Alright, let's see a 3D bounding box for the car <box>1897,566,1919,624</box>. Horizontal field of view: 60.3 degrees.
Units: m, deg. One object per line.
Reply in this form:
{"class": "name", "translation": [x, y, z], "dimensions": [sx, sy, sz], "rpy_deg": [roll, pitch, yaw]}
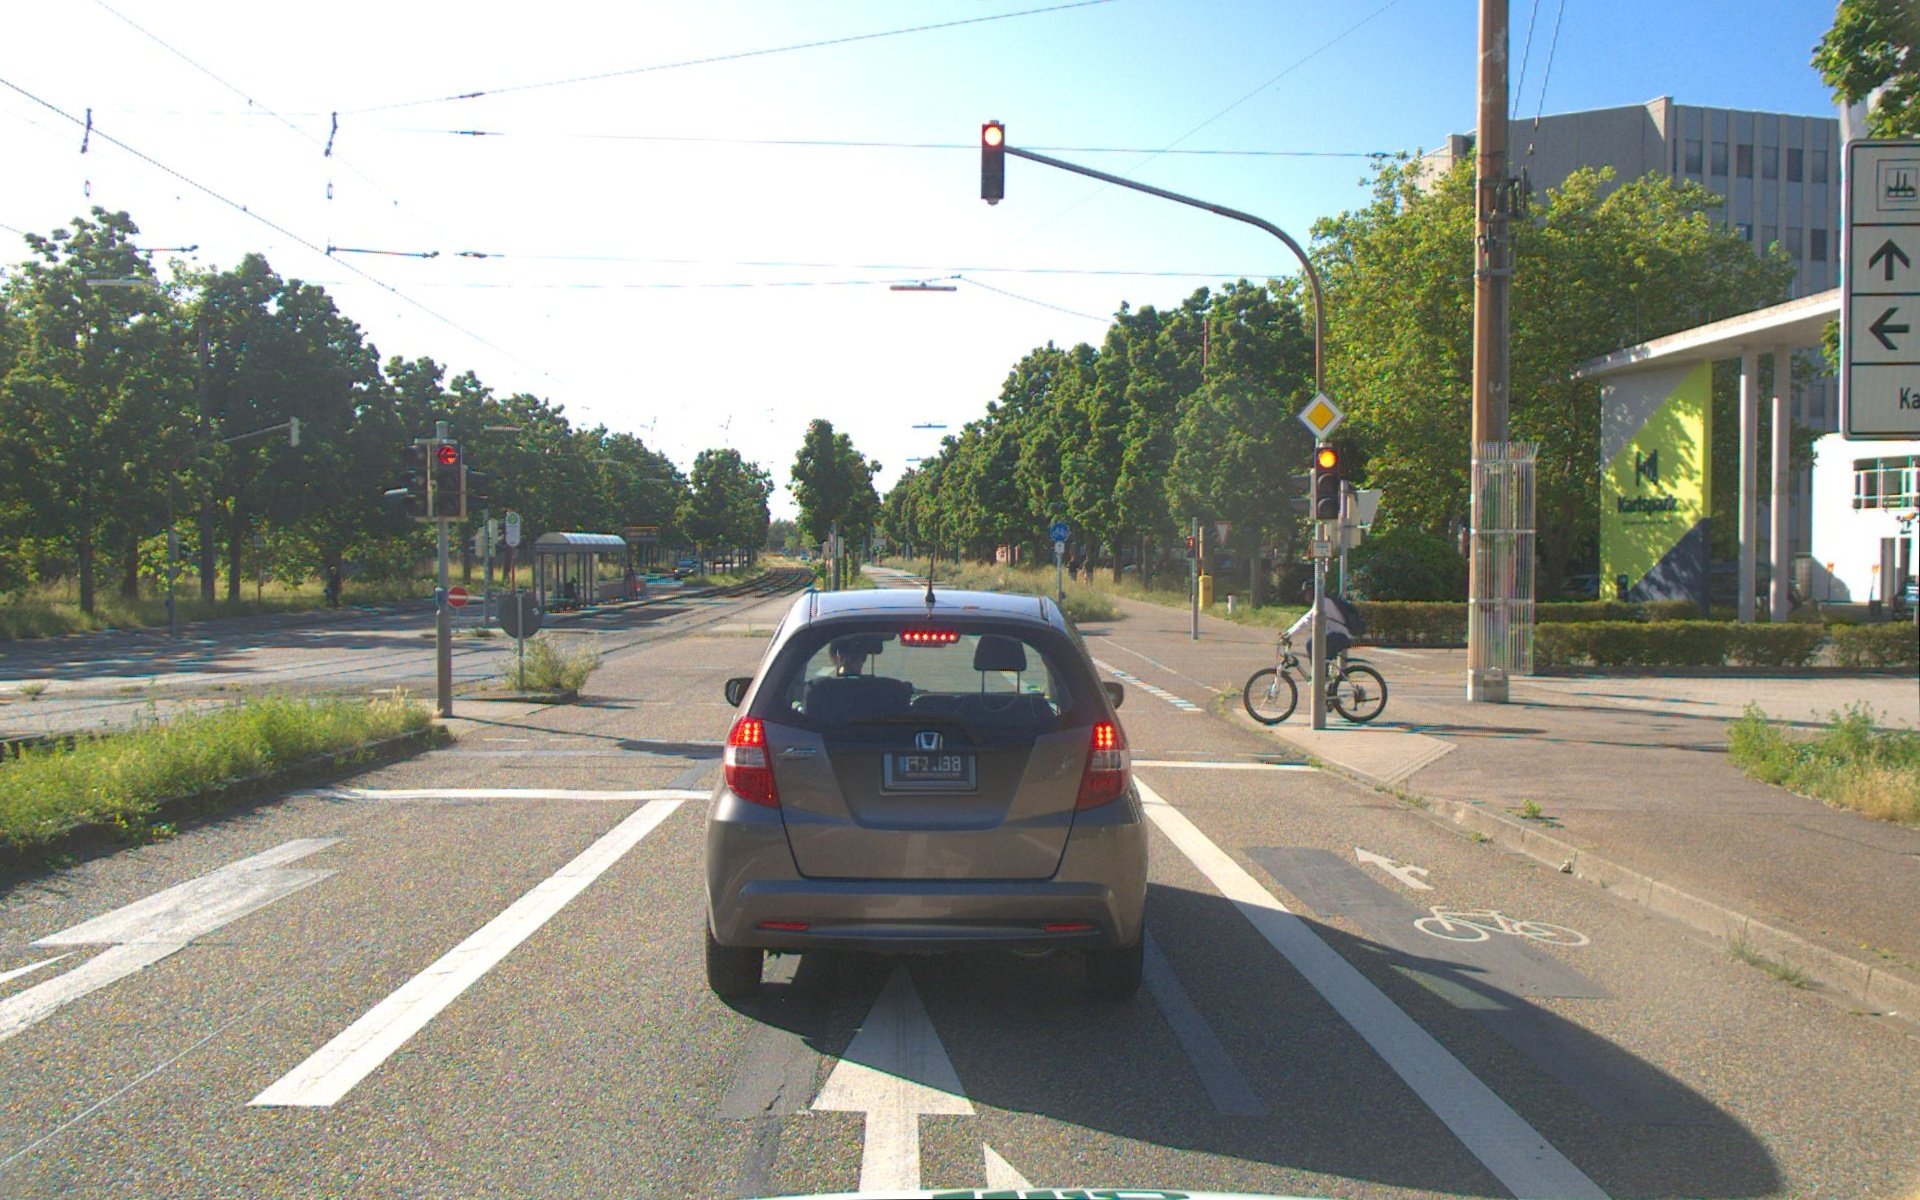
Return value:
{"class": "car", "translation": [31.049, -0.149, 50.559], "dimensions": [3.915, 1.750, 1.895], "rpy_deg": [0, 1, -10]}

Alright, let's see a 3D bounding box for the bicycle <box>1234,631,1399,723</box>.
{"class": "bicycle", "translation": [4.259, 0.911, 19.876], "dimensions": [1.879, 1.015, 0.765], "rpy_deg": [1, 0, 10]}

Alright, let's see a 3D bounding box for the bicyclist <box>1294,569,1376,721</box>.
{"class": "bicyclist", "translation": [4.488, 0.528, 19.834], "dimensions": [0.890, 1.775, 0.765], "rpy_deg": [-1, 0, 10]}

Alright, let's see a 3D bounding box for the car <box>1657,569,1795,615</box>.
{"class": "car", "translation": [28.095, -0.303, 60.703], "dimensions": [4.459, 1.658, 1.870], "rpy_deg": [0, 0, -14]}

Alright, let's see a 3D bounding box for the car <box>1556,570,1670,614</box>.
{"class": "car", "translation": [26.717, -0.330, 67.731], "dimensions": [3.919, 1.788, 1.993], "rpy_deg": [0, 0, -14]}

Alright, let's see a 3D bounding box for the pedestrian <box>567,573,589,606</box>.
{"class": "pedestrian", "translation": [-15.118, -0.420, 65.400], "dimensions": [0.706, 1.267, 0.710], "rpy_deg": [-1, 0, -3]}

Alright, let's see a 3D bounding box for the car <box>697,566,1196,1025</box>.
{"class": "car", "translation": [-0.050, 0.651, 7.607], "dimensions": [1.672, 1.535, 4.000], "rpy_deg": [1, 0, 0]}

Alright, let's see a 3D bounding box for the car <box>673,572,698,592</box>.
{"class": "car", "translation": [-24.635, -1.606, 148.510], "dimensions": [1.731, 1.768, 3.998], "rpy_deg": [0, 0, -3]}

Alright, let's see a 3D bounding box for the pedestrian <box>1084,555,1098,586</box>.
{"class": "pedestrian", "translation": [7.003, -1.573, 88.367], "dimensions": [0.664, 1.638, 0.720], "rpy_deg": [1, 0, -3]}

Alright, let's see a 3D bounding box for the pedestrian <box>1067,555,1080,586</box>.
{"class": "pedestrian", "translation": [6.060, -1.555, 88.223], "dimensions": [0.556, 1.624, 0.665], "rpy_deg": [1, 0, -5]}

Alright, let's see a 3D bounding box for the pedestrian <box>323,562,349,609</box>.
{"class": "pedestrian", "translation": [-27.040, -0.634, 71.658], "dimensions": [0.823, 2.049, 0.863], "rpy_deg": [0, 0, -3]}
